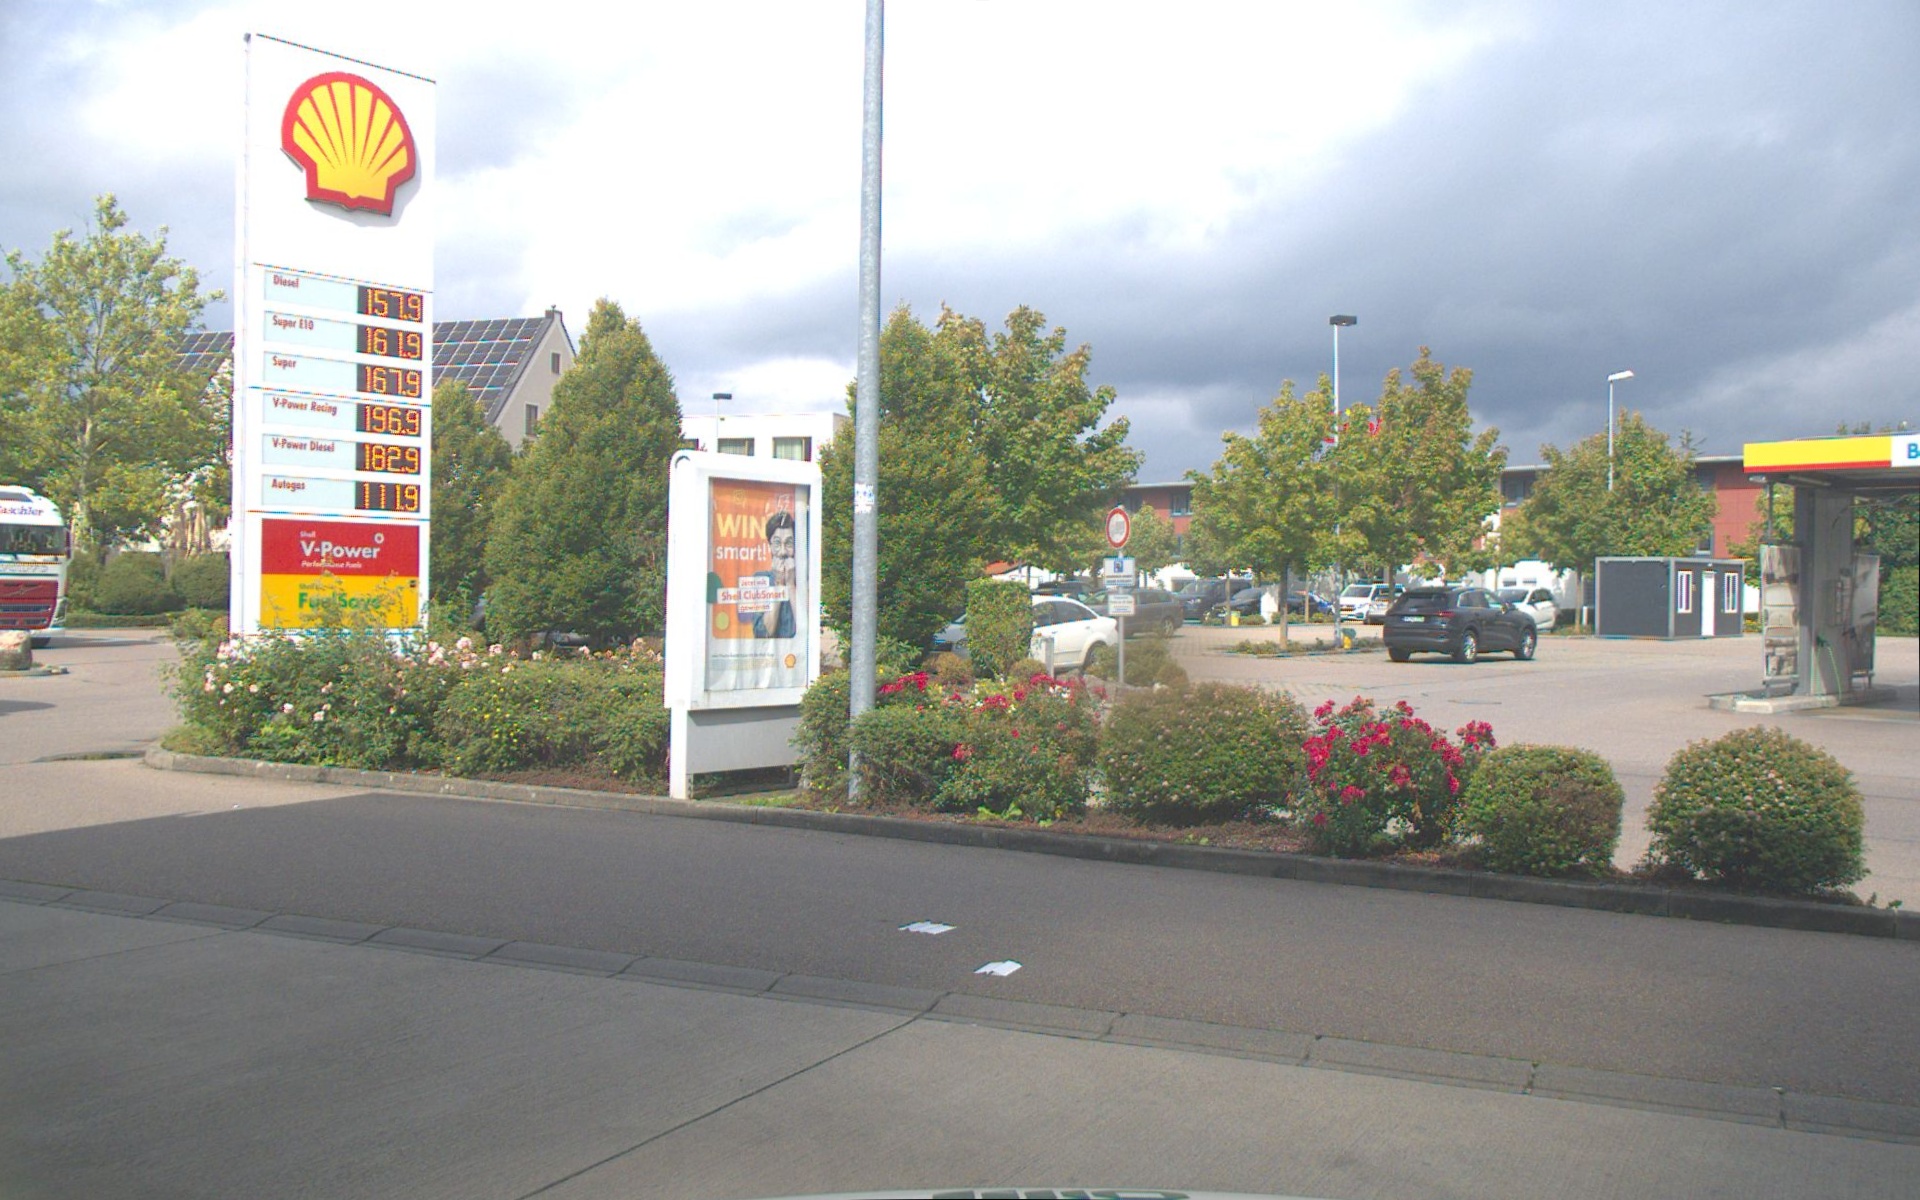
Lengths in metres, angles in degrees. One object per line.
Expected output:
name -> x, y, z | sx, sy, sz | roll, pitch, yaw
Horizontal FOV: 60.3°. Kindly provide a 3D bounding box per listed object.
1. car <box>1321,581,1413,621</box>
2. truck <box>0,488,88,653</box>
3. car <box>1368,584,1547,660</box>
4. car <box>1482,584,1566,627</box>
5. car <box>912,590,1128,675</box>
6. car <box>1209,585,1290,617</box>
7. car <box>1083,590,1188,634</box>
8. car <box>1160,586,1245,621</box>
car -> 19.942, 0.047, 80.960 | 4.839, 1.865, 2.150 | 1, 0, -44
truck -> -24.694, -0.721, 41.249 | 5.796, 3.913, 2.733 | 1, 0, 34
car -> 11.150, 0.491, 36.909 | 4.467, 1.575, 1.856 | 1, 0, -44
car -> 18.030, 0.179, 52.821 | 3.080, 1.330, 1.346 | 1, -1, -45
car -> 1.151, 0.578, 29.954 | 1.348, 1.428, 4.312 | 1, -1, 45
car -> 11.437, 0.049, 65.226 | 3.393, 1.199, 1.462 | 1, 0, -45
car -> 5.300, 0.371, 49.810 | 3.203, 1.249, 1.481 | 1, 0, -45
car -> 9.836, 0.152, 66.949 | 3.363, 1.343, 1.719 | 1, 0, -45
